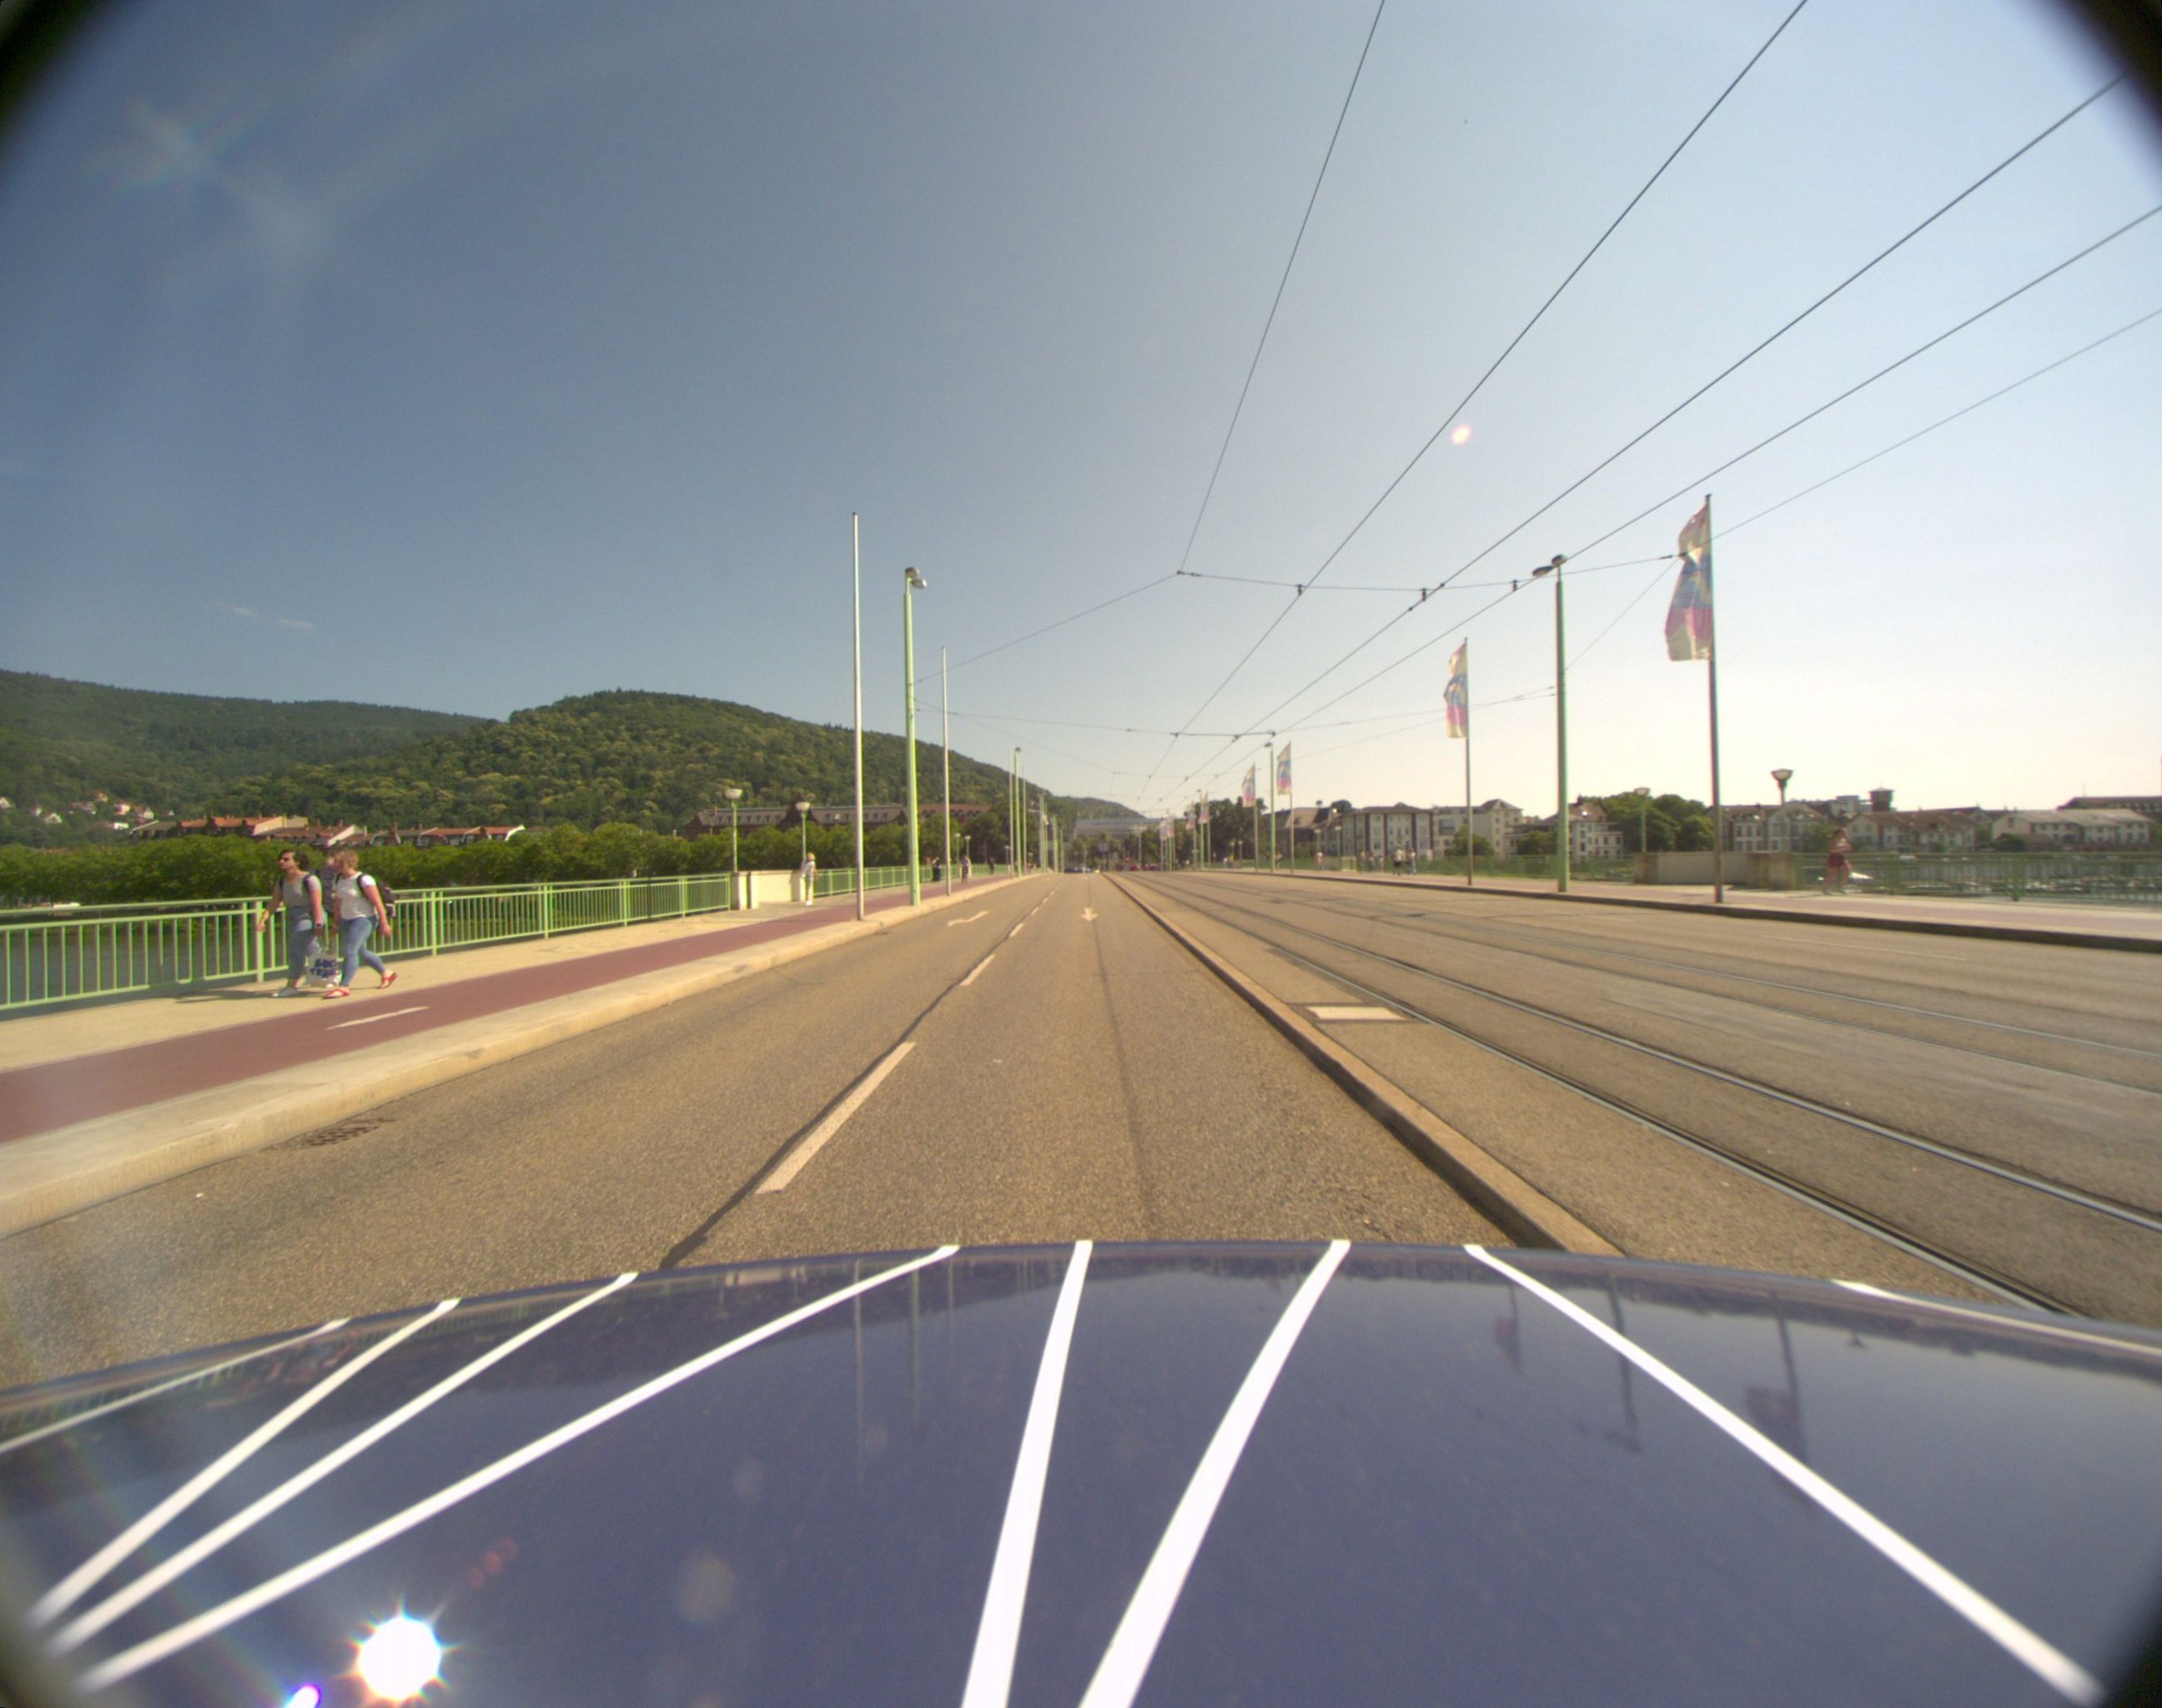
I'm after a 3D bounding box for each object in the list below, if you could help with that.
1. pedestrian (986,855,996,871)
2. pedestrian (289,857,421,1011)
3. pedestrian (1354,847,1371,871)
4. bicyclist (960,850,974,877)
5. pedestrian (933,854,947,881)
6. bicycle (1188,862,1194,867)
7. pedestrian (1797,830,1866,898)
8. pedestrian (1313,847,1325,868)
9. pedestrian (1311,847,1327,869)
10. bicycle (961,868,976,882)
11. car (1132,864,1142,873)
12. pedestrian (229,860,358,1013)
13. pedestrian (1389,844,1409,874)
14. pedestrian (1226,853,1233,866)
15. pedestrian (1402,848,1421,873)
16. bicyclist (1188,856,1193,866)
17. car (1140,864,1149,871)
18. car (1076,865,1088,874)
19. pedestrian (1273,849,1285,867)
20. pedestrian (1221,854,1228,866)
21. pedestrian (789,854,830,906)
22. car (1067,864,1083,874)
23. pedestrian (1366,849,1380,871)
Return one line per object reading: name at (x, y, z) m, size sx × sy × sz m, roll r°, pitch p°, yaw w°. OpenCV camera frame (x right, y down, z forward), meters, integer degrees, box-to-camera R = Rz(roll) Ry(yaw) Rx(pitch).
pedestrian at (-9.376, 0.928, 79.151) m, size 0.950 × 1.653 × 1.082 m, roll 1°, pitch 0°, yaw 0°
pedestrian at (-8.157, 0.861, 8.576) m, size 0.664 × 1.649 × 0.825 m, roll 0°, pitch 1°, yaw 0°
pedestrian at (18.904, 0.340, 51.035) m, size 0.627 × 1.590 × 1.022 m, roll -3°, pitch 1°, yaw 0°
bicyclist at (-7.013, 0.591, 46.843) m, size 0.731 × 1.655 × 0.844 m, roll 0°, pitch 0°, yaw 1°
pedestrian at (-8.667, 0.823, 46.695) m, size 0.664 × 1.696 × 0.859 m, roll 0°, pitch 1°, yaw 0°
bicycle at (18.583, 1.741, 128.765) m, size 0.667 × 0.712 × 2.173 m, roll -1°, pitch 0°, yaw 1°
pedestrian at (19.376, 0.253, 19.639) m, size 0.686 × 1.680 × 1.022 m, roll -3°, pitch 1°, yaw 0°
pedestrian at (19.621, 0.298, 62.729) m, size 0.592 × 1.690 × 1.022 m, roll -3°, pitch 1°, yaw 0°
pedestrian at (18.760, 0.337, 59.887) m, size 0.787 × 1.690 × 1.022 m, roll -4°, pitch 1°, yaw 0°
bicycle at (-6.992, 1.301, 47.195) m, size 0.595 × 0.761 × 1.866 m, roll 0°, pitch 0°, yaw 1°
car at (11.571, 2.992, 157.588) m, size 1.714 × 1.686 × 4.000 m, roll -5°, pitch 0°, yaw 1°
pedestrian at (-8.855, 0.893, 8.573) m, size 0.669 × 1.649 × 0.746 m, roll 0°, pitch 1°, yaw 0°
pedestrian at (18.473, 0.295, 44.116) m, size 0.671 × 1.690 × 1.022 m, roll -3°, pitch 1°, yaw 0°
pedestrian at (20.167, 0.739, 103.300) m, size 0.592 × 1.690 × 0.905 m, roll -6°, pitch 0°, yaw 0°
pedestrian at (19.292, 0.362, 44.307) m, size 0.592 × 1.406 × 1.022 m, roll -3°, pitch 0°, yaw 0°
bicyclist at (18.553, 1.180, 128.678) m, size 0.666 × 1.641 × 0.622 m, roll -1°, pitch 1°, yaw 1°
car at (13.878, 2.954, 165.321) m, size 1.672 × 1.428 × 4.000 m, roll -1°, pitch 1°, yaw 1°
car at (0.261, 2.770, 137.354) m, size 1.998 × 1.379 × 4.000 m, roll -6°, pitch 0°, yaw 1°
pedestrian at (18.869, 0.379, 72.451) m, size 0.787 × 1.690 × 1.022 m, roll -4°, pitch 1°, yaw 0°
pedestrian at (19.540, 0.815, 103.333) m, size 0.592 × 1.690 × 1.022 m, roll -6°, pitch 0°, yaw 0°
pedestrian at (-8.896, 0.840, 24.913) m, size 0.950 × 1.653 × 1.082 m, roll 0°, pitch 1°, yaw 0°
car at (-1.491, 3.863, 195.453) m, size 3.998 × 2.002 × 2.000 m, roll -6°, pitch 0°, yaw -2°
pedestrian at (19.549, 0.428, 50.916) m, size 0.547 × 1.429 × 0.789 m, roll -3°, pitch 1°, yaw 0°
